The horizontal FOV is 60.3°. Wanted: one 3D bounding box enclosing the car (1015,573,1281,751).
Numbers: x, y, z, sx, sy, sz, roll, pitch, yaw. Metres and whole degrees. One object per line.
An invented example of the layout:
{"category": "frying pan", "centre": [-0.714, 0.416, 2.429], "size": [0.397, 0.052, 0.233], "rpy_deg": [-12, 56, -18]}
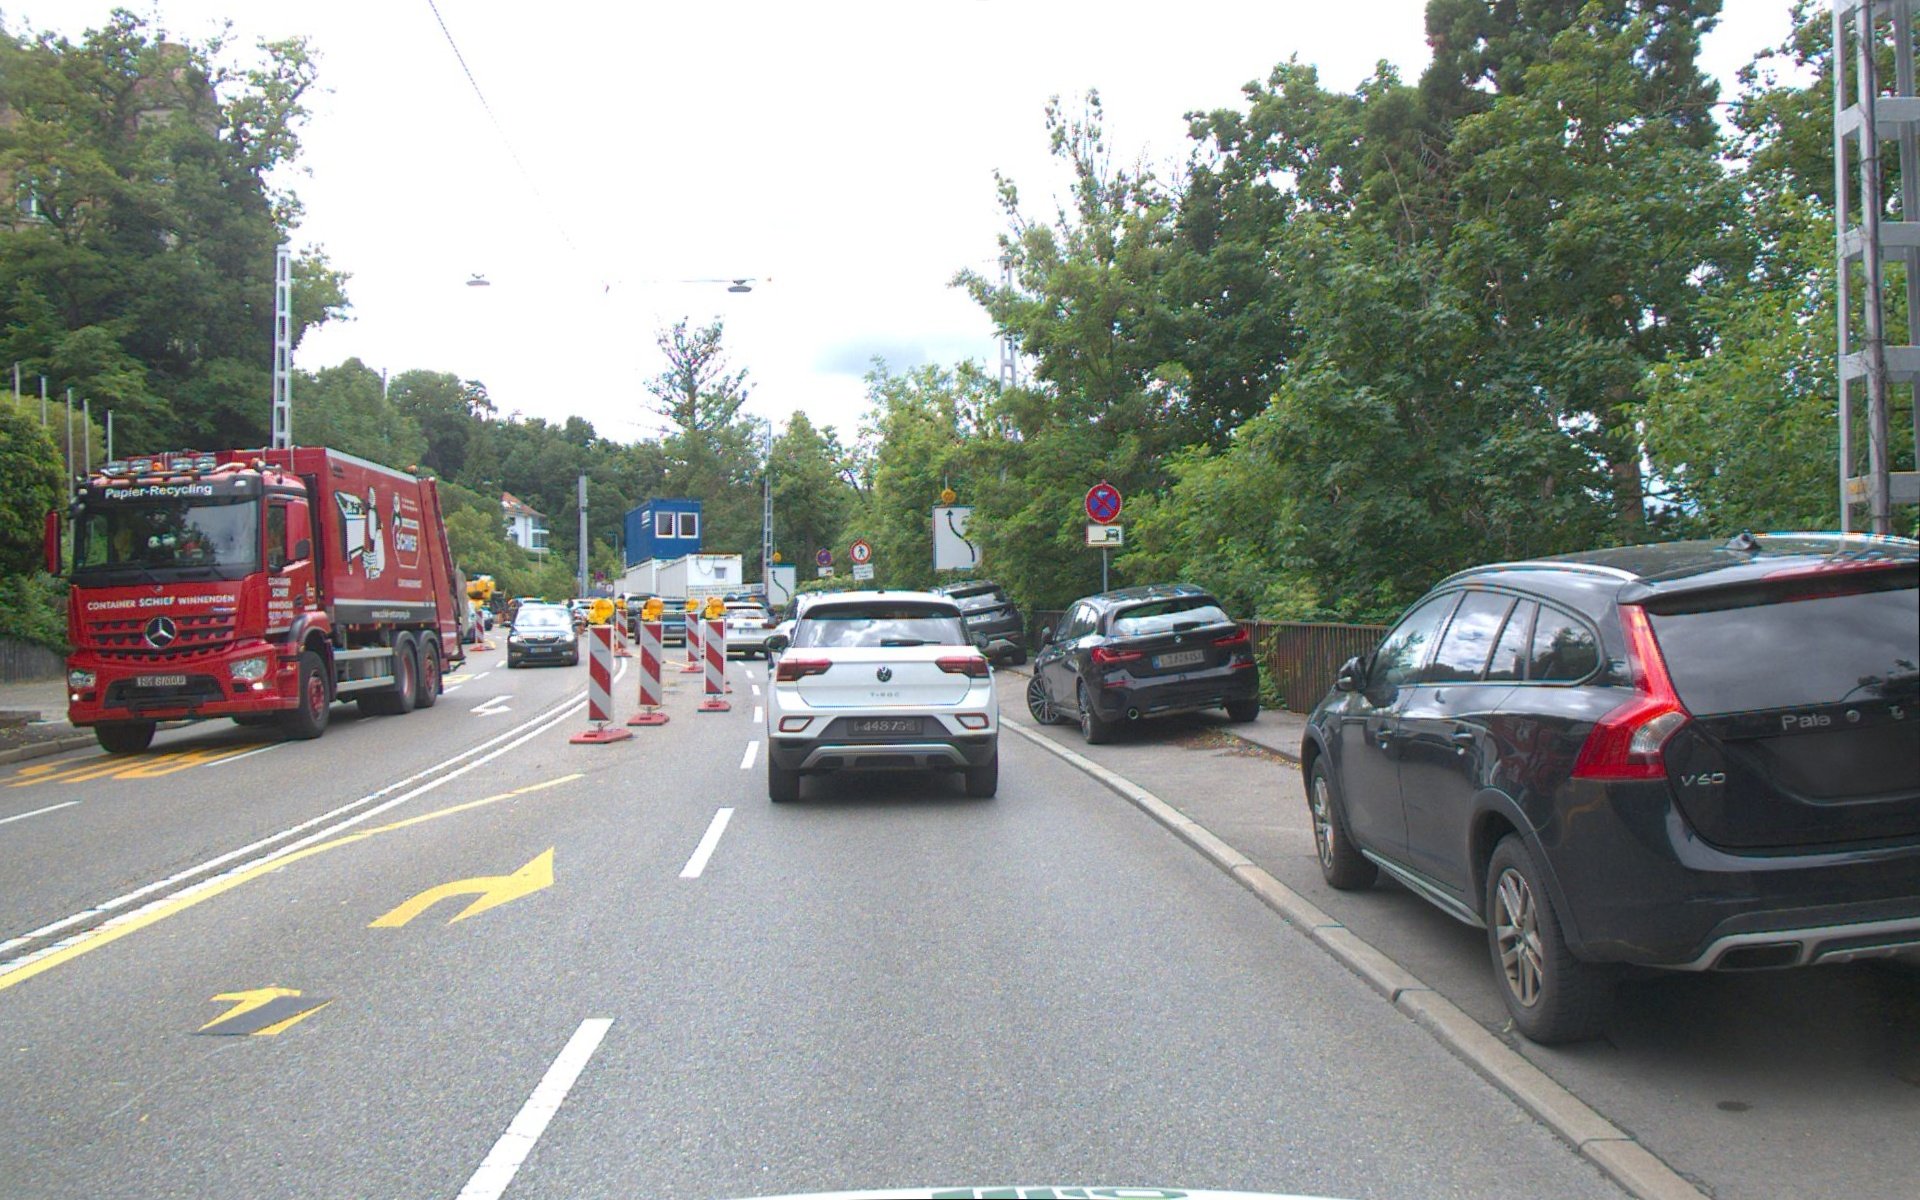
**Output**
{"category": "car", "centre": [1.870, 0.582, 17.861], "size": [1.774, 1.488, 4.187], "rpy_deg": [-7, 1, -7]}

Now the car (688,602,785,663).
{"category": "car", "centre": [-5.922, 0.821, 43.538], "size": [1.732, 1.497, 3.772], "rpy_deg": [-1, 0, -20]}

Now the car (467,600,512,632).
{"category": "car", "centre": [-24.177, 0.807, 84.863], "size": [1.869, 1.520, 3.975], "rpy_deg": [-2, 0, -21]}

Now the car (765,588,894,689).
{"category": "car", "centre": [-2.371, 0.628, 29.309], "size": [1.727, 1.637, 3.783], "rpy_deg": [-1, 0, -13]}

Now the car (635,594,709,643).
{"category": "car", "centre": [-9.361, 0.628, 53.623], "size": [1.961, 1.439, 4.133], "rpy_deg": [-3, -1, -15]}

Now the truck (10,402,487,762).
{"category": "truck", "centre": [-9.173, -0.235, 23.026], "size": [2.888, 3.762, 9.909], "rpy_deg": [-3, 0, -5]}

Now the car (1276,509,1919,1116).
{"category": "car", "centre": [2.656, 0.528, 6.717], "size": [1.730, 1.548, 4.393], "rpy_deg": [-6, 0, -1]}

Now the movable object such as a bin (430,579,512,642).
{"category": "movable object such as a bin", "centre": [-31.043, 0.682, 104.847], "size": [3.492, 3.764, 7.424], "rpy_deg": [-2, 0, -28]}

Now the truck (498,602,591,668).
{"category": "truck", "centre": [-10.213, 0.831, 40.875], "size": [1.630, 1.468, 4.021], "rpy_deg": [-2, 0, -6]}

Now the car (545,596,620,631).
{"category": "car", "centre": [-17.440, 0.633, 76.263], "size": [1.977, 1.475, 4.100], "rpy_deg": [-2, 0, -34]}

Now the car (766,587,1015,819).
{"category": "car", "centre": [-0.627, 0.713, 13.490], "size": [1.723, 1.583, 3.792], "rpy_deg": [-1, 0, -5]}

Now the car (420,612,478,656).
{"category": "car", "centre": [-18.378, 1.193, 59.543], "size": [1.866, 1.406, 3.980], "rpy_deg": [-3, 0, -17]}

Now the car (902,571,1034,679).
{"category": "car", "centre": [0.083, 0.450, 32.121], "size": [1.817, 1.684, 4.135], "rpy_deg": [-9, 1, -7]}

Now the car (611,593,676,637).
{"category": "car", "centre": [-12.193, 0.546, 63.484], "size": [1.962, 1.583, 4.130], "rpy_deg": [-2, 1, -17]}
